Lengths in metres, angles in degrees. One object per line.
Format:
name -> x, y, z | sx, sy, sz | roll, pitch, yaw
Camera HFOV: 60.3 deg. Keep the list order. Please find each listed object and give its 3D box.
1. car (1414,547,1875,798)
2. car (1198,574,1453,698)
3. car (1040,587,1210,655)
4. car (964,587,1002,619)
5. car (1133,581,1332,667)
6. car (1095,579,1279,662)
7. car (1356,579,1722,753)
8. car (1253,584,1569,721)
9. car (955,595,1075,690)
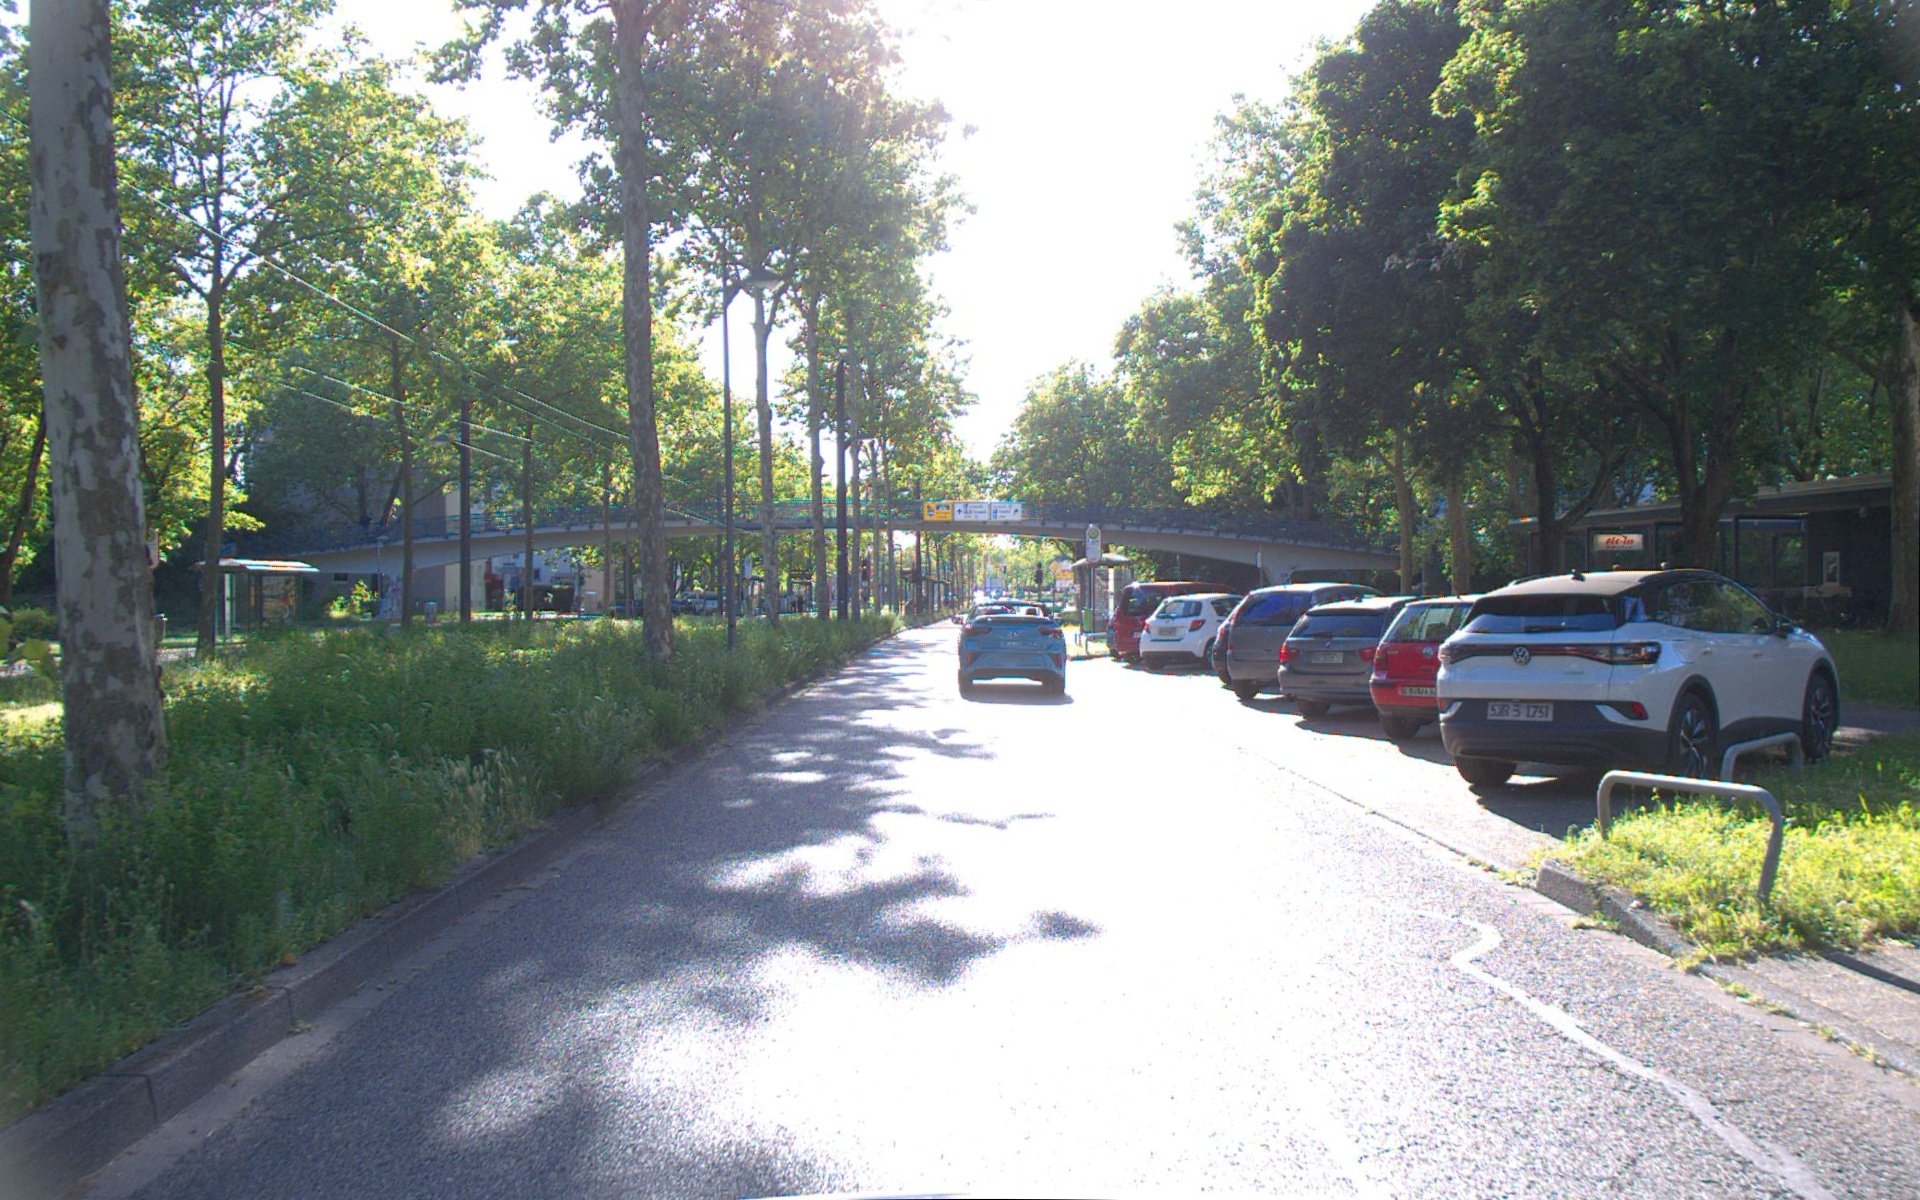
car -> 5.725, 0.495, 13.526 | 4.588, 1.710, 1.827 | 0, 0, -44
car -> 5.645, 0.503, 25.119 | 1.822, 1.710, 4.586 | -3, -1, 40
car -> 4.273, 0.523, 42.295 | 4.588, 1.642, 1.827 | 0, 0, -44
car -> 1.251, 0.153, 91.310 | 1.953, 1.680, 4.000 | 1, 1, -1
car -> 5.845, 0.475, 35.169 | 4.588, 1.710, 1.827 | 0, 0, -44
car -> 5.331, 0.452, 38.496 | 4.588, 1.799, 1.827 | 0, 0, -44
car -> 6.264, 0.615, 17.607 | 4.588, 1.597, 1.827 | 0, 1, -44
car -> 5.852, 0.585, 21.128 | 4.589, 1.548, 1.827 | -1, 0, -44
car -> 0.863, 0.672, 28.152 | 1.883, 1.435, 4.000 | 1, 1, 0
